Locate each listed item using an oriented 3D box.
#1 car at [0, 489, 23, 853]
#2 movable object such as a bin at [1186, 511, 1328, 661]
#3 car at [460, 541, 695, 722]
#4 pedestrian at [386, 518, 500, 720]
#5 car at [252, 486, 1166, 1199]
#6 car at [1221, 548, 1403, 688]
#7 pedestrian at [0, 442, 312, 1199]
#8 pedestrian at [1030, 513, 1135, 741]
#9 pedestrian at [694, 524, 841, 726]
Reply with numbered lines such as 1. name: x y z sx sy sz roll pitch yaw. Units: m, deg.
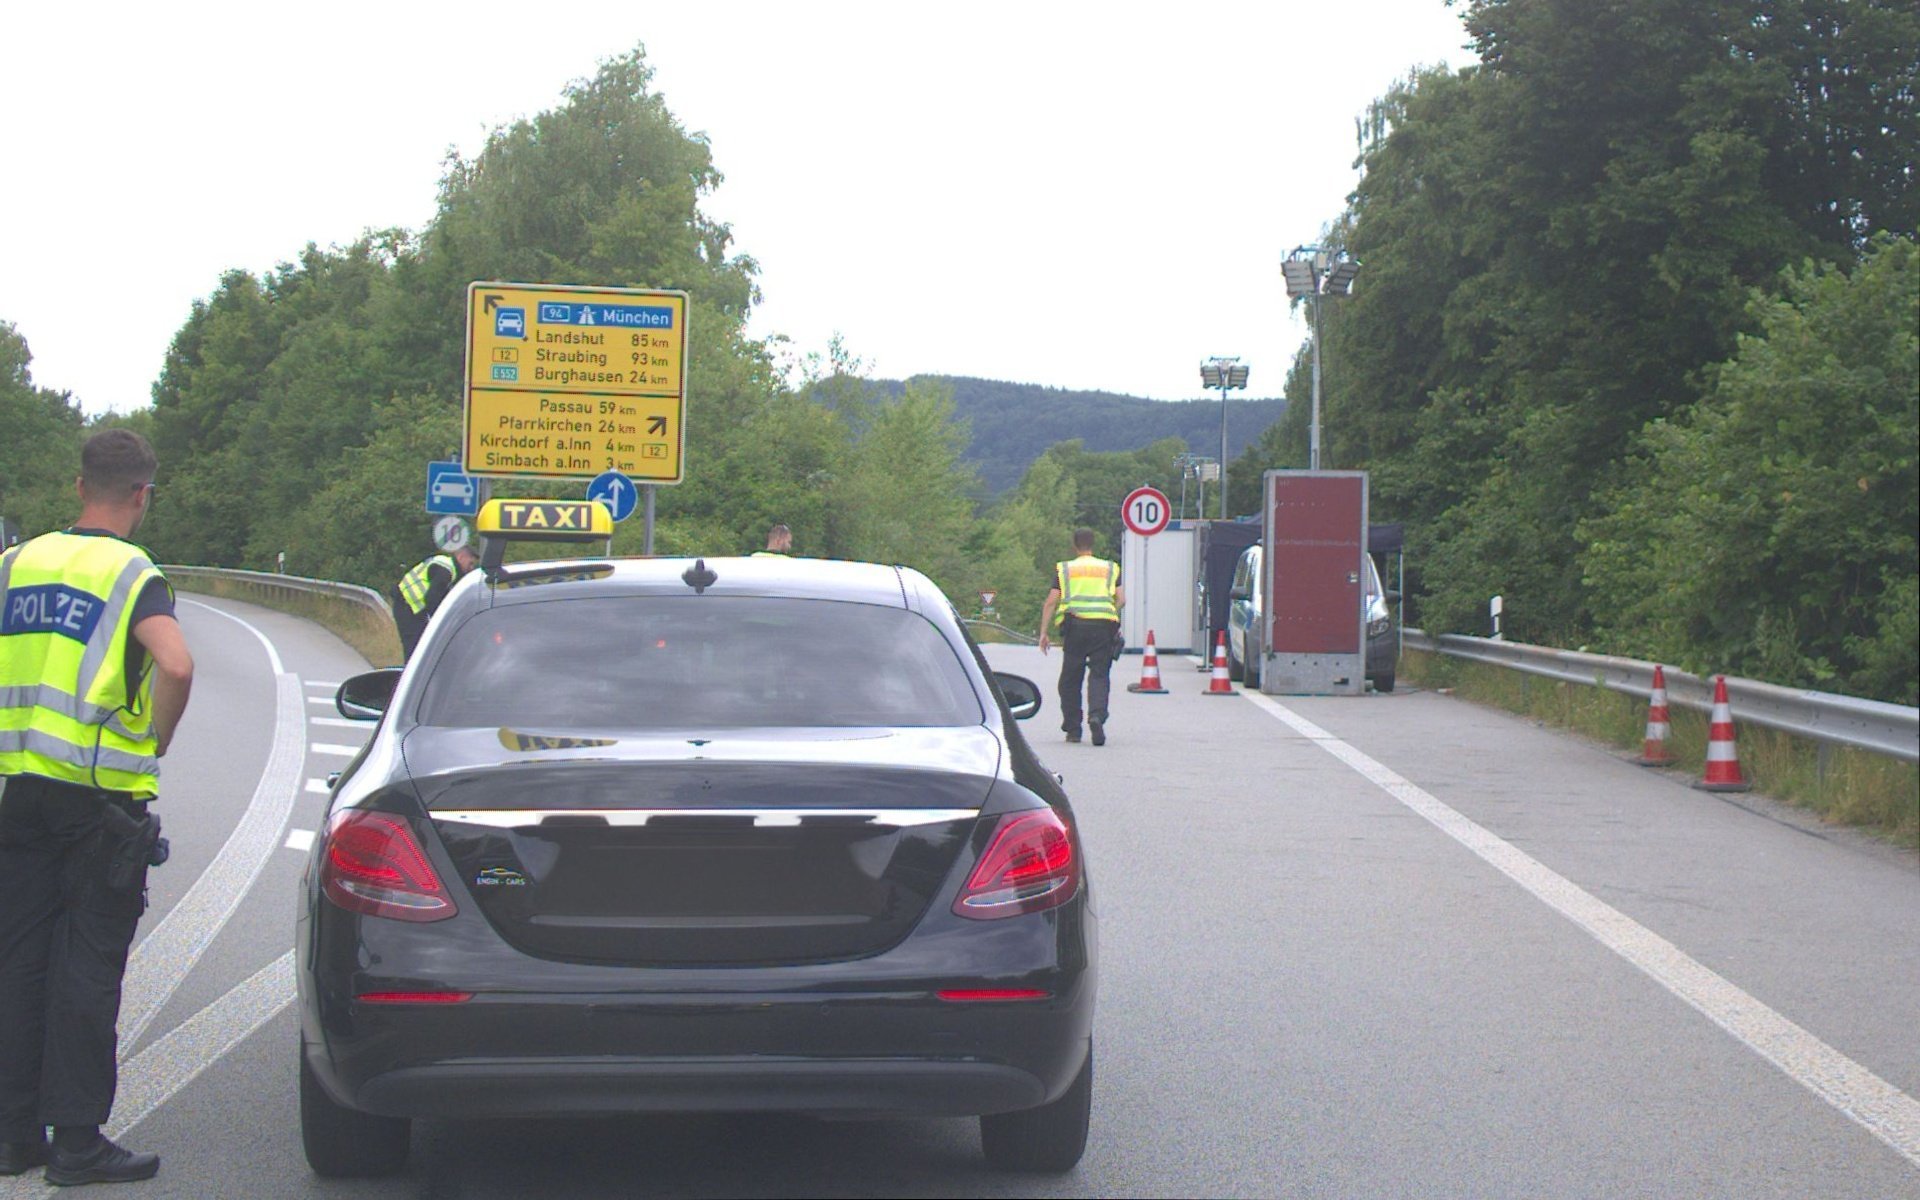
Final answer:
1. car: -5.388 0.357 14.841 1.868 1.737 4.009 0 1 -4
2. movable object such as a bin: 4.666 -0.243 54.462 1.993 2.272 4.168 1 1 2
3. car: -3.335 0.232 30.651 1.855 1.493 4.257 0 1 -3
4. pedestrian: -4.606 0.160 30.655 0.910 1.763 0.912 1 1 -3
5. car: -0.702 0.534 9.205 1.855 1.589 4.376 0 1 -5
6. car: 4.605 0.187 45.662 1.916 1.672 5.083 2 1 1
7. pedestrian: -2.050 0.512 7.871 0.761 1.712 0.816 1 1 37
8. pedestrian: 0.992 0.215 27.919 0.812 1.824 0.809 0 1 -1
9. pedestrian: -1.645 0.201 29.324 0.908 1.692 0.914 0 1 -32
